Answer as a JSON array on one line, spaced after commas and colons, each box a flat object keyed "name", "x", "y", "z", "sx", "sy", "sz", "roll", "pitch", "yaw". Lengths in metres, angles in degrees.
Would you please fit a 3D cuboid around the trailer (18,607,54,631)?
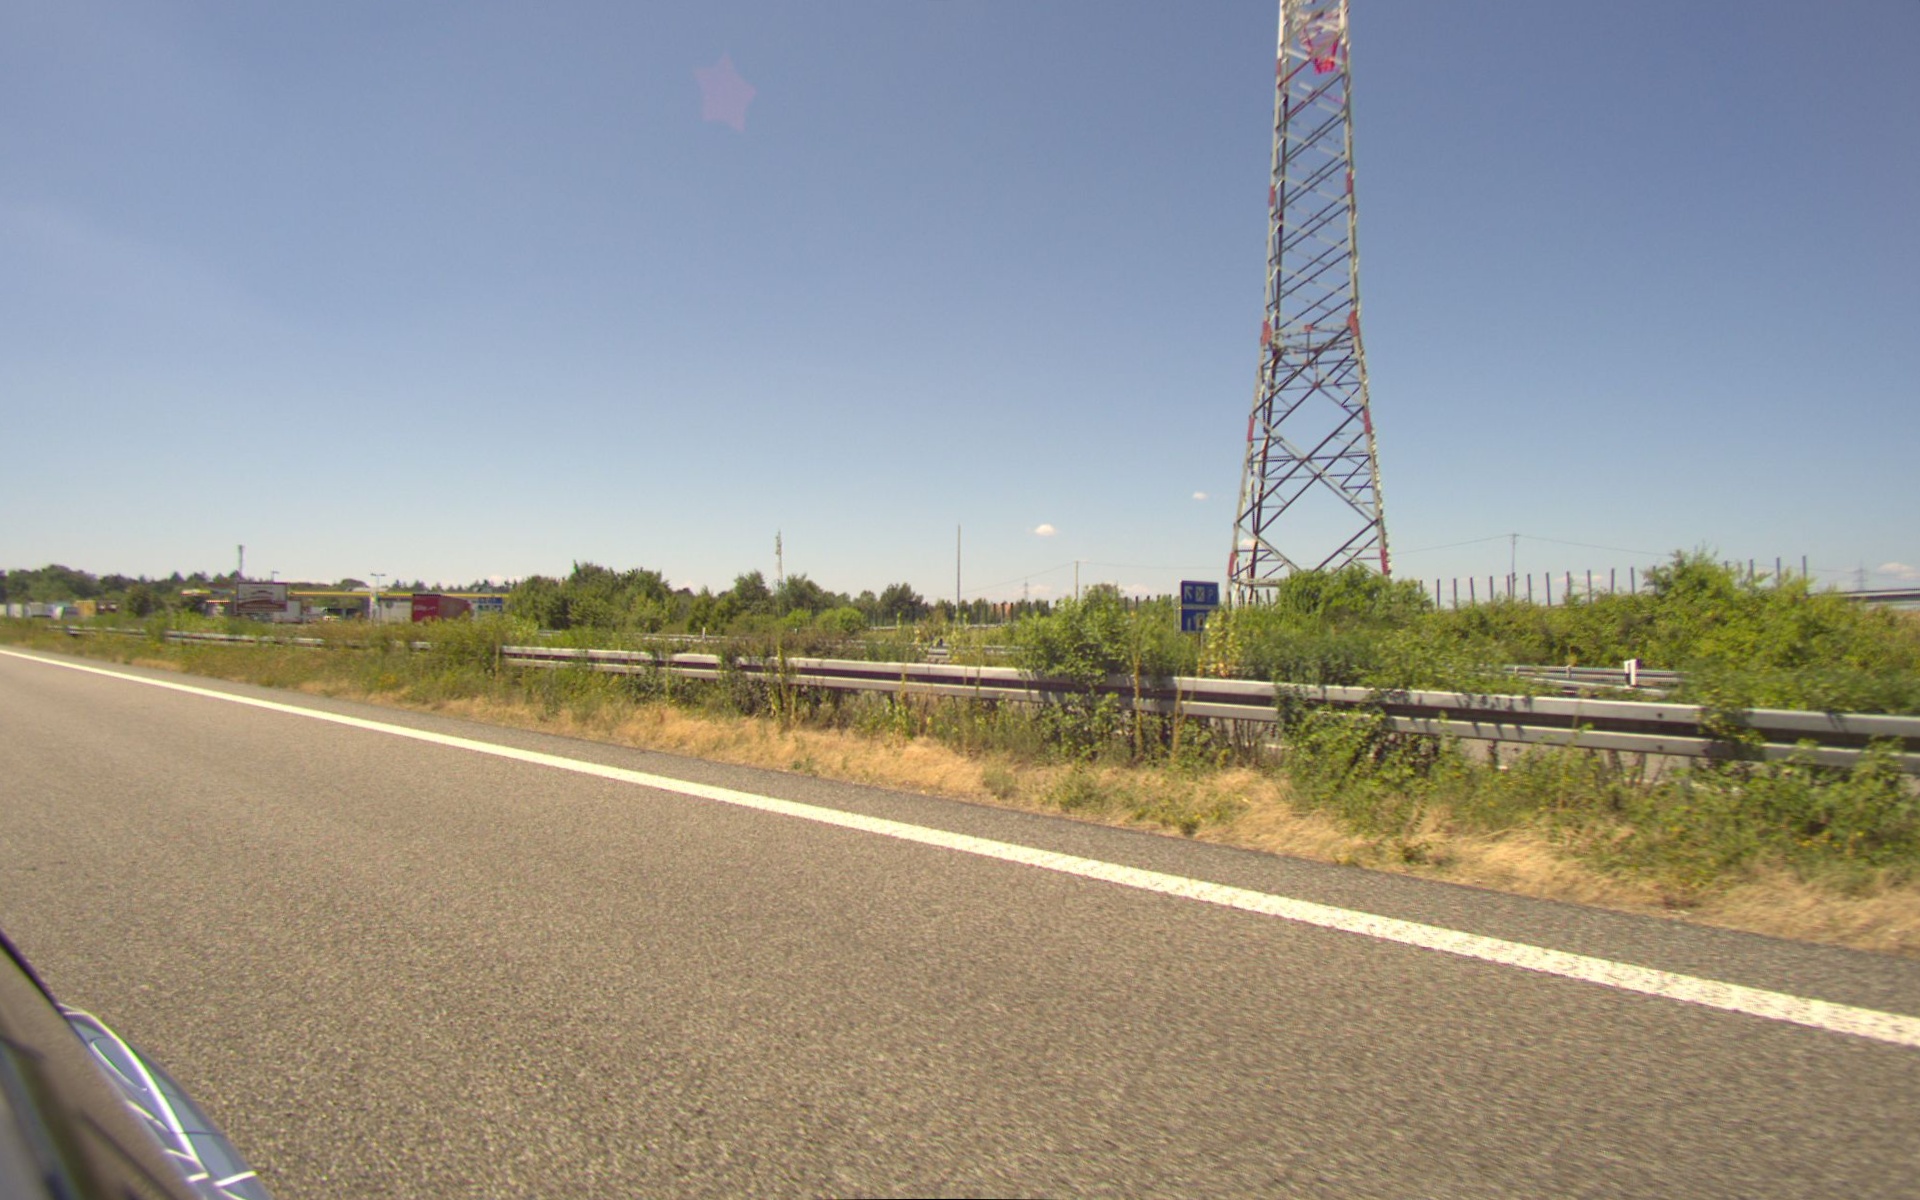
[{"name": "trailer", "x": -166.152, "y": 3.412, "z": 181.929, "sx": 11.004, "sy": 4.189, "sz": 3.082, "roll": -1, "pitch": 0, "yaw": 39}]

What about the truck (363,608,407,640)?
[{"name": "truck", "x": -84.039, "y": 3.497, "z": 147.868, "sx": 7.624, "sy": 4.390, "sz": 3.266, "roll": -1, "pitch": 0, "yaw": 42}]

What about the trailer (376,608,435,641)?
[{"name": "trailer", "x": -78.147, "y": 3.386, "z": 142.467, "sx": 12.919, "sy": 4.390, "sz": 3.266, "roll": -1, "pitch": 0, "yaw": 43}]

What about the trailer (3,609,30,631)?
[{"name": "trailer", "x": -183.170, "y": 3.870, "z": 196.494, "sx": 10.506, "sy": 4.250, "sz": 2.572, "roll": -1, "pitch": 0, "yaw": 40}]

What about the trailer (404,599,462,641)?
[{"name": "trailer", "x": -55.028, "y": 1.950, "z": 106.004, "sx": 3.078, "sy": 4.086, "sz": 11.346, "roll": -1, "pitch": 0, "yaw": -15}]

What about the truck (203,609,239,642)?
[{"name": "truck", "x": -113.998, "y": 3.881, "z": 156.083, "sx": 7.877, "sy": 4.886, "sz": 2.993, "roll": -1, "pitch": 0, "yaw": 42}]

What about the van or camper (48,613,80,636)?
[{"name": "van or camper", "x": -106.770, "y": 2.892, "z": 120.557, "sx": 6.386, "sy": 2.543, "sz": 2.038, "roll": -1, "pitch": 0, "yaw": 41}]

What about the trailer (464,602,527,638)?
[{"name": "trailer", "x": -59.637, "y": 2.527, "z": 130.343, "sx": 3.122, "sy": 4.298, "sz": 11.064, "roll": -1, "pitch": 0, "yaw": 0}]

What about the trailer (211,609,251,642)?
[{"name": "trailer", "x": -109.380, "y": 3.794, "z": 151.871, "sx": 9.132, "sy": 4.886, "sz": 3.000, "roll": -1, "pitch": 0, "yaw": 42}]

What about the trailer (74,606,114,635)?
[{"name": "trailer", "x": -130.877, "y": 3.099, "z": 152.900, "sx": 11.073, "sy": 4.251, "sz": 2.805, "roll": -1, "pitch": 0, "yaw": 40}]

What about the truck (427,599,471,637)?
[{"name": "truck", "x": -56.921, "y": 1.980, "z": 112.865, "sx": 3.075, "sy": 4.080, "sz": 6.664, "roll": -1, "pitch": 0, "yaw": -15}]

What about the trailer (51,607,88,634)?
[{"name": "trailer", "x": -147.014, "y": 3.409, "z": 166.993, "sx": 12.073, "sy": 4.180, "sz": 2.805, "roll": -1, "pitch": 0, "yaw": 40}]

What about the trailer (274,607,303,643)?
[{"name": "trailer", "x": -96.324, "y": 3.517, "z": 145.164, "sx": 3.257, "sy": 4.911, "sz": 9.708, "roll": -1, "pitch": 0, "yaw": -34}]
